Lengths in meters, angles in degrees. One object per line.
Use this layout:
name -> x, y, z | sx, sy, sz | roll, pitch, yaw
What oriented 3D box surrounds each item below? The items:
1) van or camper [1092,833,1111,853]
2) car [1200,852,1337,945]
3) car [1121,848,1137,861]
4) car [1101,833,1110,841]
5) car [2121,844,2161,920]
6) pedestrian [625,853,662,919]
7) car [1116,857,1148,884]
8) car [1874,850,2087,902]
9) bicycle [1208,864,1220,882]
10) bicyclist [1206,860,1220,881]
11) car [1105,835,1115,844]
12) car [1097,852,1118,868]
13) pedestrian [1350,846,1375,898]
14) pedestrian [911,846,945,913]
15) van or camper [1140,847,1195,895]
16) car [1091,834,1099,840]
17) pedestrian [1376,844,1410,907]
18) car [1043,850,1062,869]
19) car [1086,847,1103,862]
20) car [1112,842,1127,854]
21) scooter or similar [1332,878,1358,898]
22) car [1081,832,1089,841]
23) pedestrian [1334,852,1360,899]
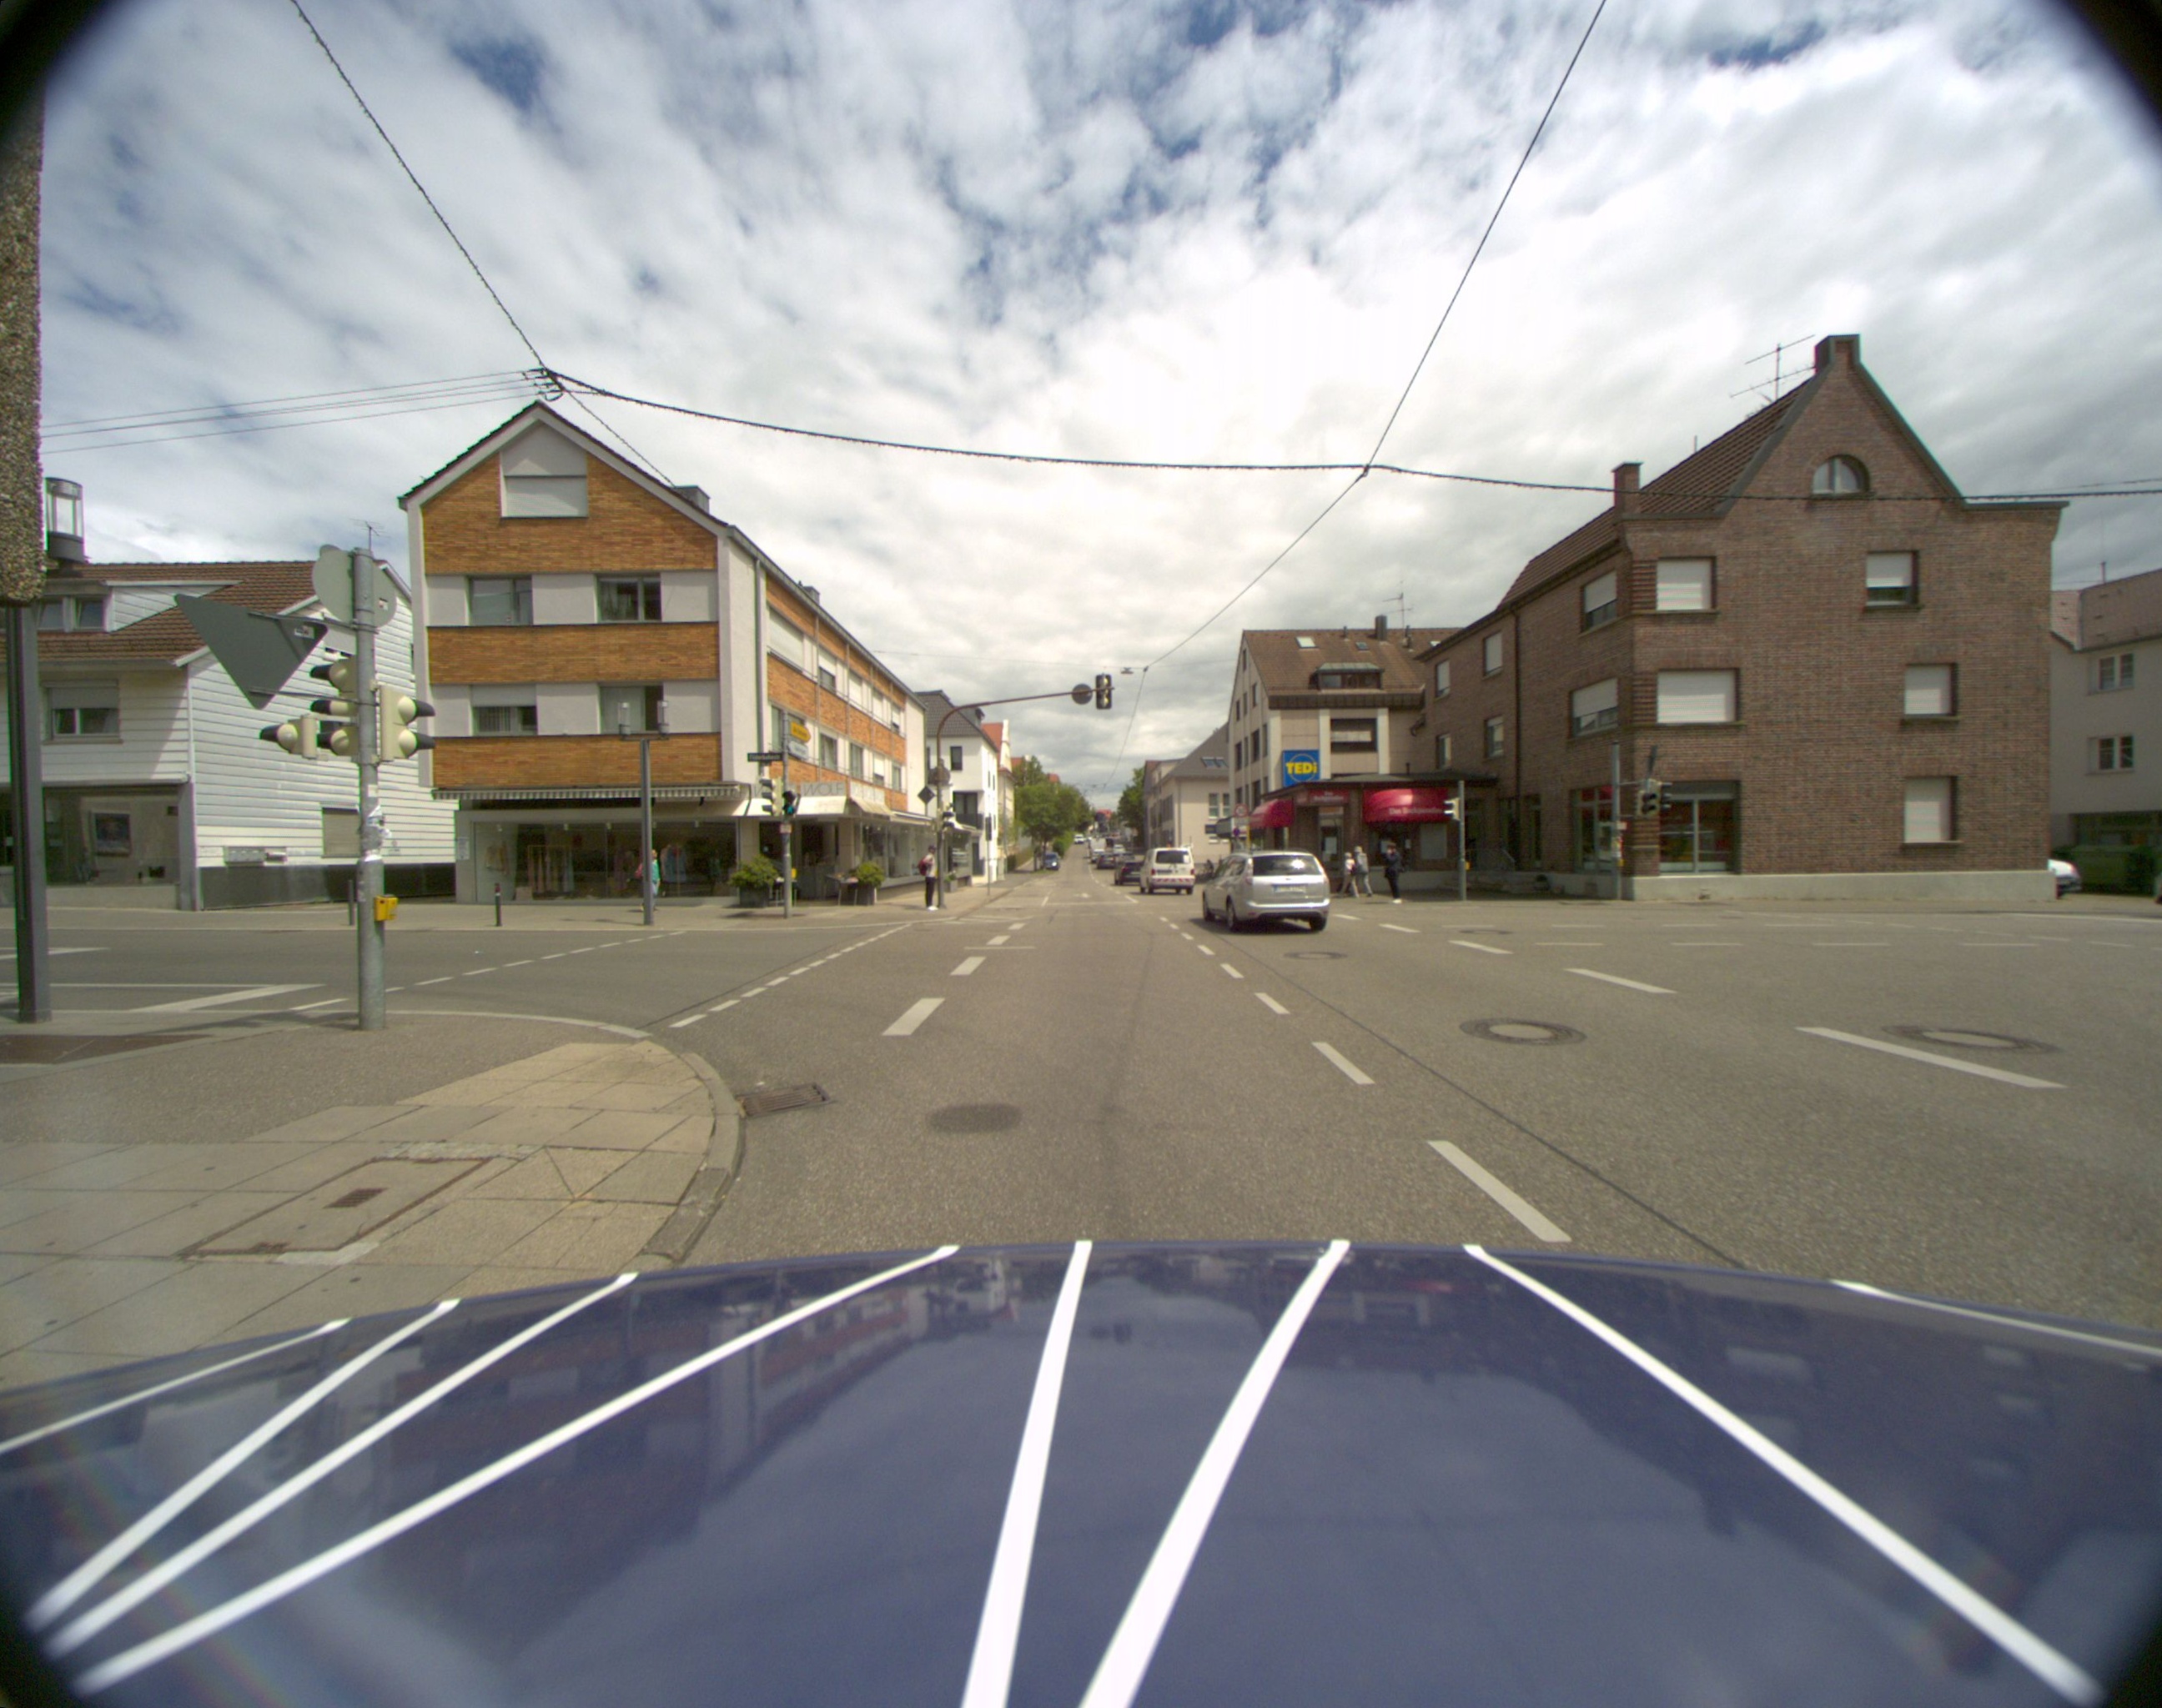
van or camper -> 2.688, -1.400, 99.719 | 2.154, 2.541, 5.437 | 0, -1, -2
car -> 3.531, 0.768, 15.068 | 1.673, 1.544, 4.215 | -1, 0, 0
car -> 5.383, 0.044, 85.366 | 1.665, 1.322, 3.472 | 0, 2, 0
car -> 5.863, -4.137, 182.169 | 1.946, 1.709, 4.596 | 0, 0, -1
car -> 24.281, 0.560, 15.187 | 4.326, 1.565, 1.921 | 0, 0, 1
pedestrian -> -10.674, 0.760, 18.549 | 0.589, 1.551, 0.528 | -2, 2, -16
car -> 3.076, 0.974, 46.382 | 1.687, 1.488, 3.967 | 0, 0, 0
car -> 26.938, 0.611, 22.985 | 1.749, 1.408, 4.000 | 0, 0, 1
bicycle -> 8.756, 1.224, 50.019 | 0.444, 1.044, 1.733 | -4, 2, 0
bicyclist -> 8.716, 1.064, 50.126 | 0.669, 1.330, 0.761 | -4, 2, 0
car -> 5.211, -2.612, 136.572 | 1.673, 1.545, 3.963 | 0, 3, 0
car -> 2.574, 0.582, 75.224 | 1.794, 1.580, 4.100 | 0, -1, -2
pedestrian -> 9.279, 0.579, 25.060 | 0.525, 1.649, 0.761 | -2, 2, -2
pedestrian -> -4.216, 0.696, 20.944 | 0.614, 1.804, 0.774 | 3, -1, -32
van or camper -> 3.688, 0.707, 33.131 | 1.869, 1.886, 4.692 | -1, -1, 0
car -> 3.392, -4.120, 185.445 | 1.946, 1.605, 4.453 | 0, 1, -1
pedestrian -> 9.048, 0.616, 22.045 | 0.627, 1.786, 0.720 | -2, 2, -2
car -> -2.747, 0.529, 74.790 | 1.698, 1.733, 4.158 | -1, 1, 0
car -> 1.579, 0.052, 87.885 | 1.785, 1.630, 4.219 | 0, 0, -1
car -> 5.229, -0.847, 103.363 | 1.737, 1.480, 4.064 | 0, 3, 0
scooter or similar -> 8.888, 1.146, 25.585 | 0.380, 0.642, 0.808 | 1, 1, -22
car -> 0.824, -3.433, 150.314 | 1.673, 1.545, 3.965 | 0, 0, 0
pedestrian -> 8.730, 0.701, 24.958 | 0.525, 1.477, 0.761 | -2, 2, -2
